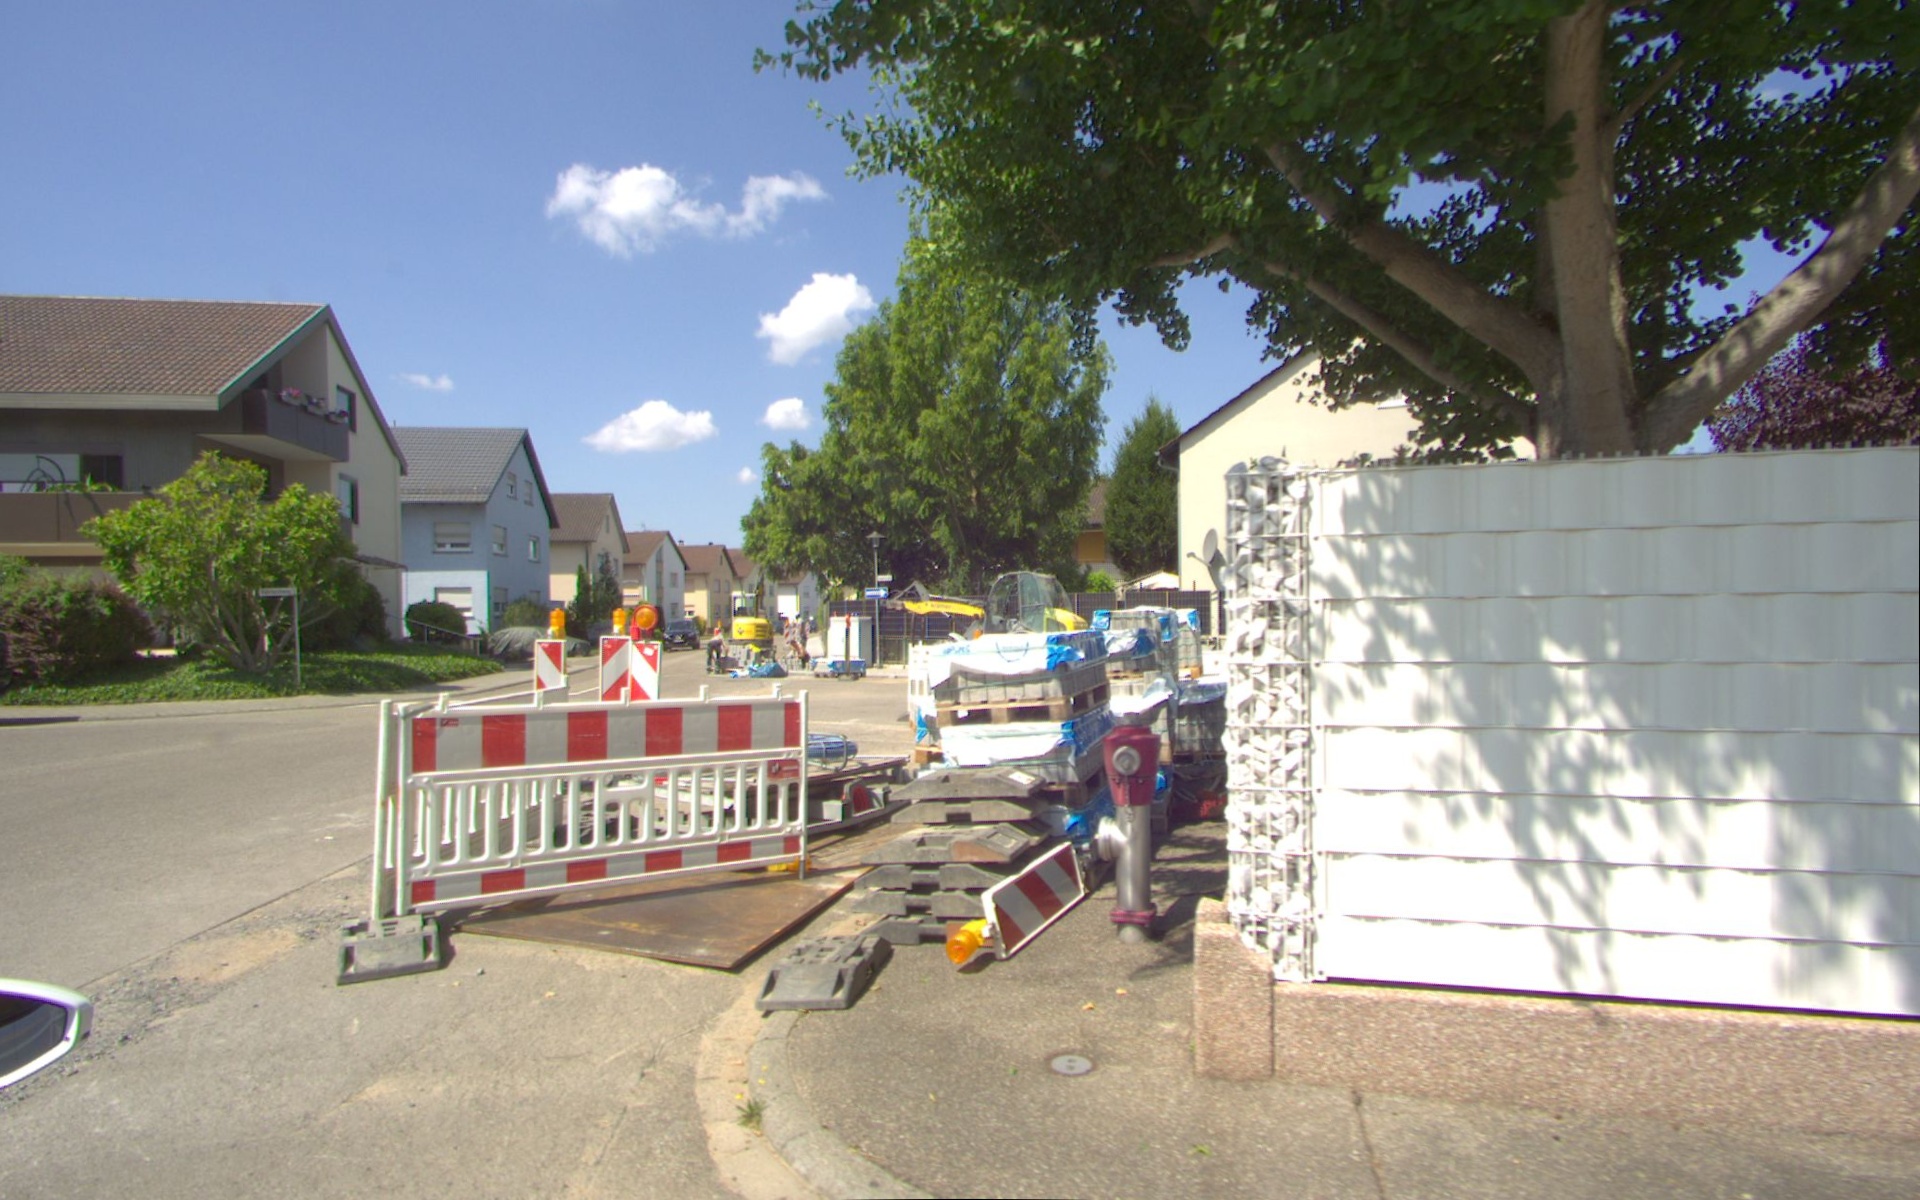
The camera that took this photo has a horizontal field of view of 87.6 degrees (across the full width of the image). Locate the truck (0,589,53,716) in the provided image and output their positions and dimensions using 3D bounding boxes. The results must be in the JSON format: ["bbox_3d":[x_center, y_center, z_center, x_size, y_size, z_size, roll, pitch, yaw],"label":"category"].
[{"bbox_3d":[-18.247,0.867,15.643,5.606,2.039,2.370,0,-2,-11],"label":"truck"}]

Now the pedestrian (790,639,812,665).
[{"bbox_3d":[-4.916,1.603,30.956,0.517,0.803,0.428,-1,0,-43],"label":"pedestrian"}]

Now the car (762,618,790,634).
[{"bbox_3d":[-19.928,2.766,108.330,1.930,1.672,4.000,0,-1,6],"label":"car"}]

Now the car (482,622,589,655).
[{"bbox_3d":[-18.433,1.655,43.663,3.924,1.359,1.999,0,0,-10],"label":"car"}]

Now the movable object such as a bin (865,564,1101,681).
[{"bbox_3d":[0.519,0.576,23.304,5.145,2.483,1.995,-1,-2,24],"label":"movable object such as a bin"}]

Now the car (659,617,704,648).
[{"bbox_3d":[-14.999,1.725,54.043,1.884,1.562,3.998,0,-1,-9],"label":"car"}]

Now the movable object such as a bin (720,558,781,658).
[{"bbox_3d":[-7.903,0.300,38.085,1.962,3.612,3.814,0,0,-7],"label":"movable object such as a bin"}]

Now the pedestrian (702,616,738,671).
[{"bbox_3d":[-6.874,1.238,28.662,0.526,1.534,0.844,-1,0,40],"label":"pedestrian"}]
